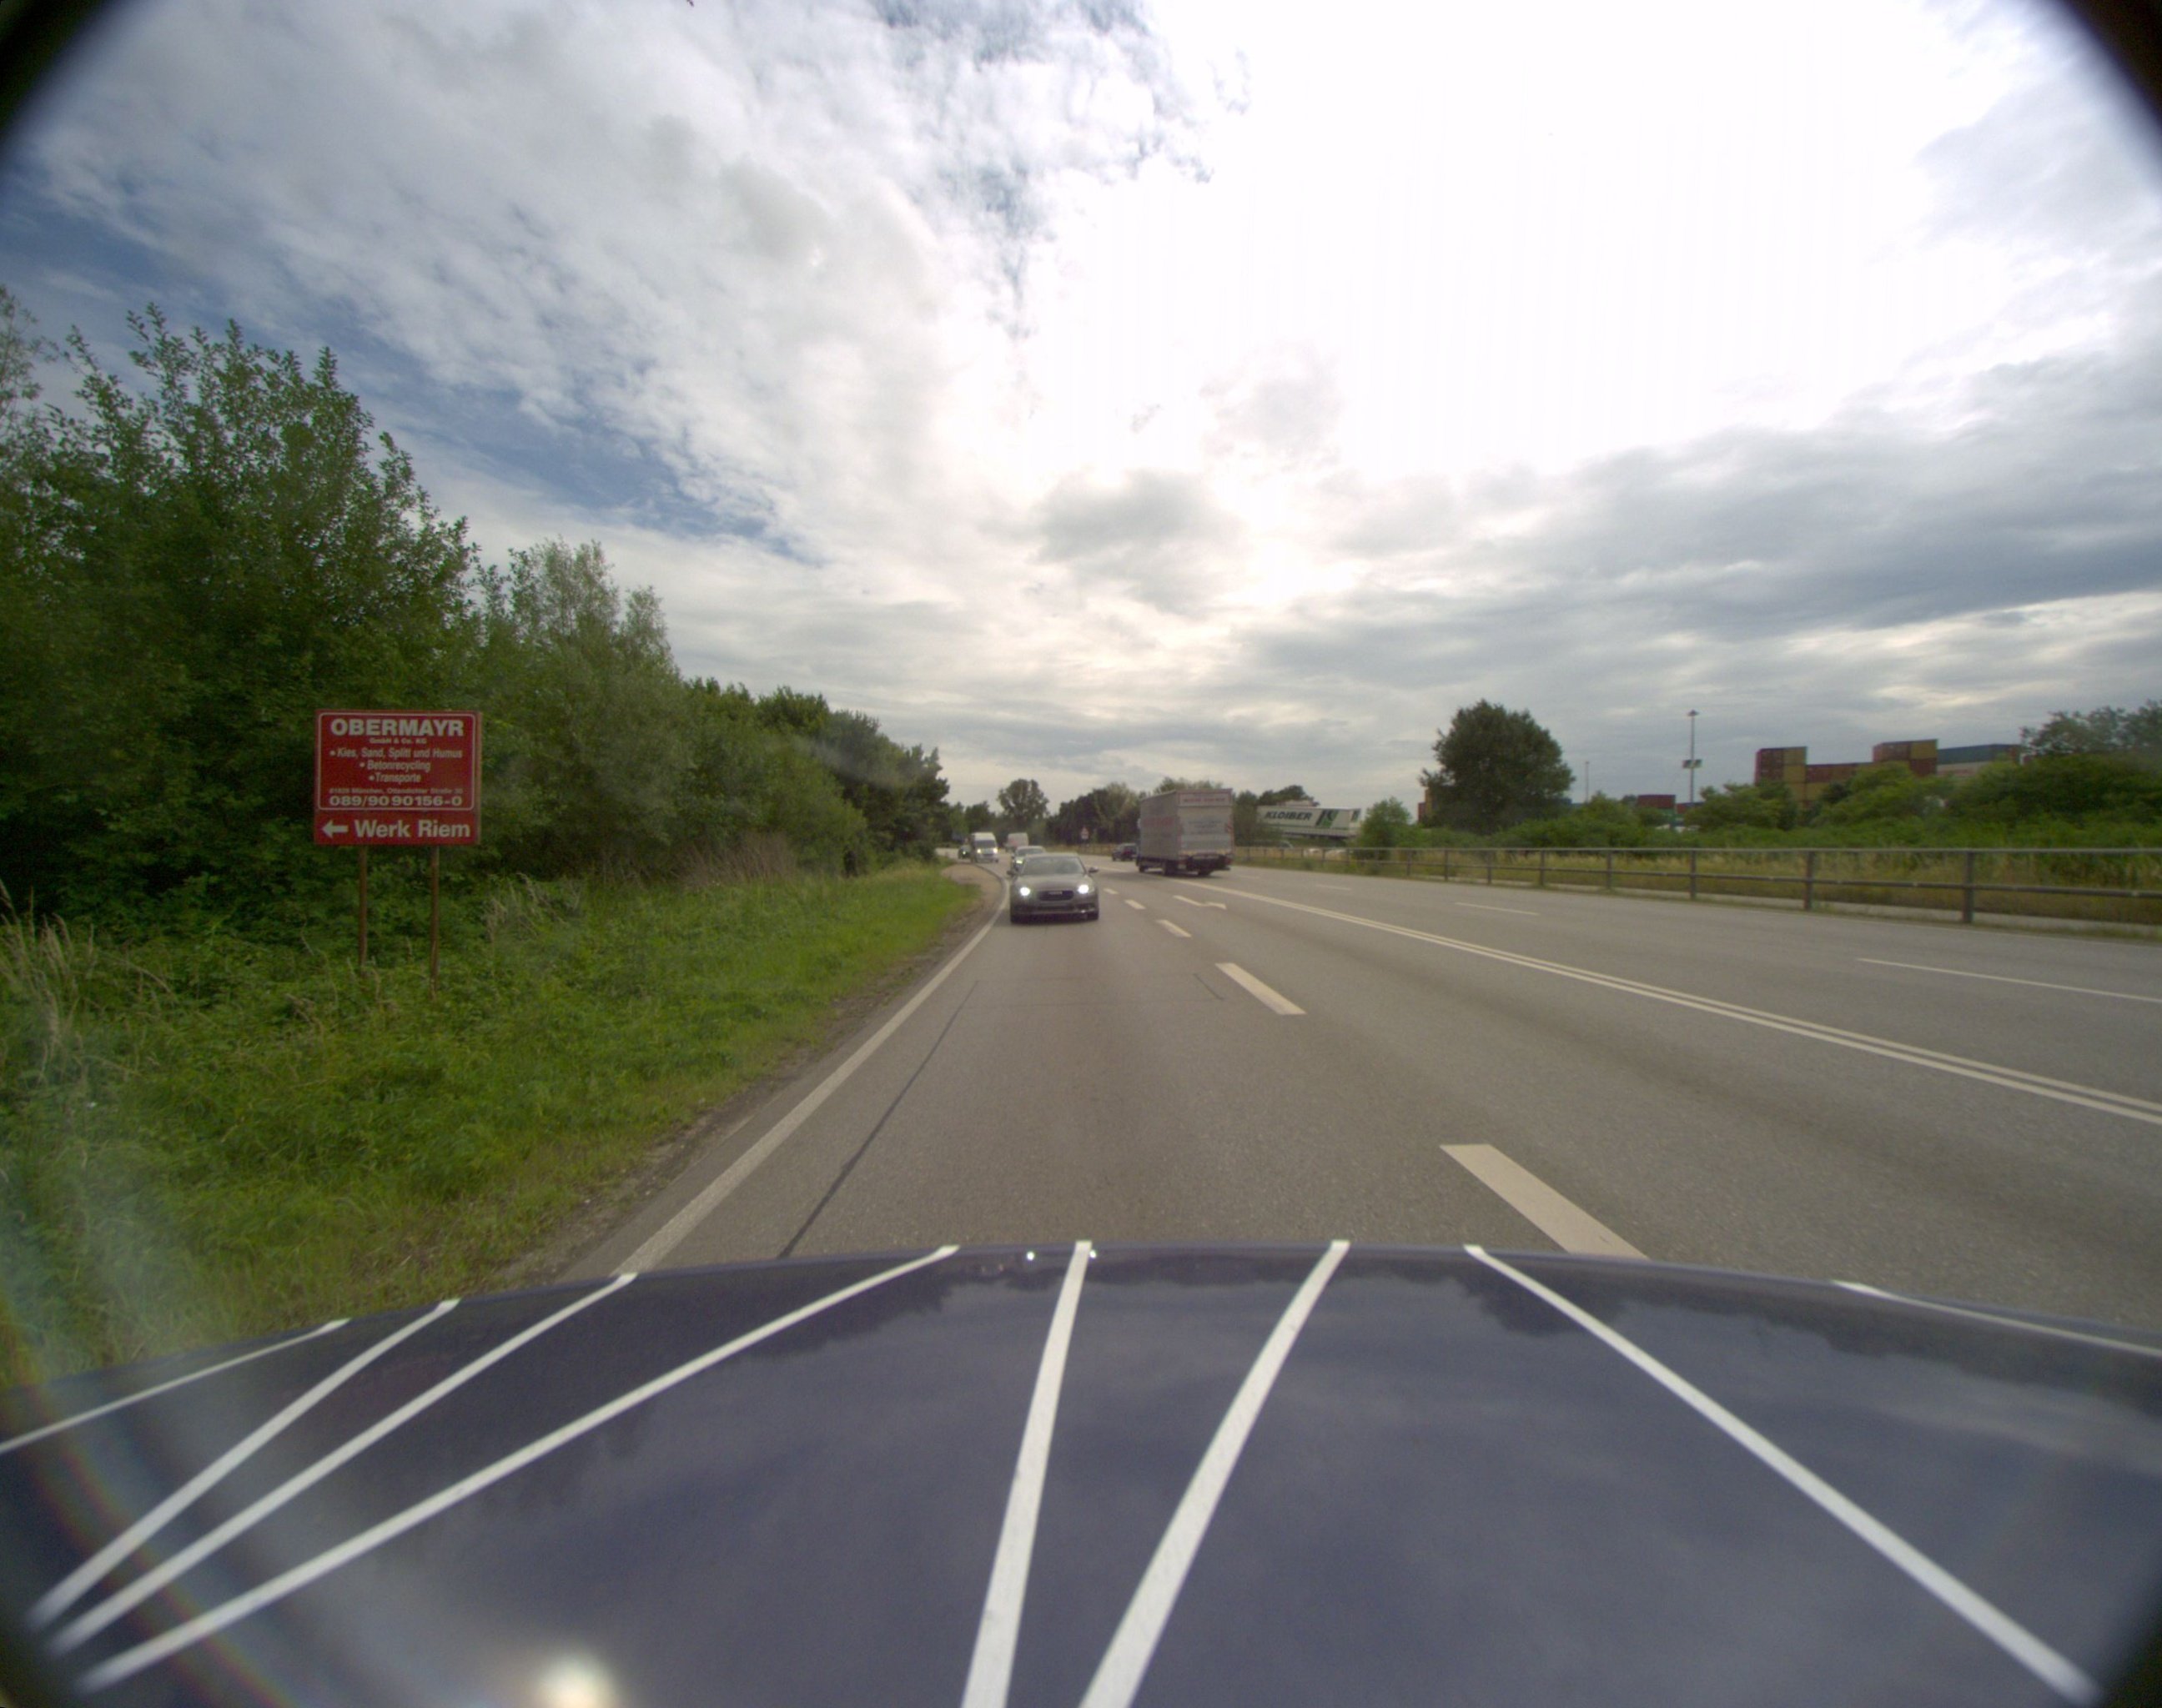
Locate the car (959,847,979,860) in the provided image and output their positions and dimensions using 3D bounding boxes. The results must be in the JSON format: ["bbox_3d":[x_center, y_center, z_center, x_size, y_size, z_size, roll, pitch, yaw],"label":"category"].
[{"bbox_3d":[-12.157,-0.069,82.487,1.733,1.357,3.994,0,1,-14],"label":"car"}]

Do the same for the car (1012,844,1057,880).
[{"bbox_3d":[-2.430,0.354,38.986,2.021,1.604,4.277,-2,2,-6],"label":"car"}]

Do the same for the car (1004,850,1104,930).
[{"bbox_3d":[-0.617,0.702,17.270,1.958,1.527,3.998,-2,1,-2],"label":"car"}]

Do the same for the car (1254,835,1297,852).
[{"bbox_3d":[21.774,-1.181,85.285,4.538,1.865,2.001,-1,2,12],"label":"car"}]

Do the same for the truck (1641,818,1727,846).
[{"bbox_3d":[60.752,-2.186,76.639,6.635,2.667,2.658,0,2,41],"label":"truck"}]

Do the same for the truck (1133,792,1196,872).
[{"bbox_3d":[4.478,-1.163,41.408,2.548,4.073,3.997,-1,1,-7],"label":"truck"}]

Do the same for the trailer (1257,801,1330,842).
[{"bbox_3d":[26.897,-4.115,96.817,2.812,4.969,8.959,-4,3,-38],"label":"trailer"}]

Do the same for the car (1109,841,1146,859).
[{"bbox_3d":[3.864,-0.357,64.003,1.953,1.433,3.994,-2,1,-14],"label":"car"}]

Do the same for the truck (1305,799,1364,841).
[{"bbox_3d":[30.686,-4.071,91.972,2.809,4.969,6.172,-4,3,-38],"label":"truck"}]

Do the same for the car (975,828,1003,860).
[{"bbox_3d":[-8.341,-0.886,68.881,2.220,2.655,5.235,-3,1,-7],"label":"car"}]

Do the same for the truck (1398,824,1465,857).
[{"bbox_3d":[48.034,-1.813,104.457,3.246,4.269,8.300,-2,2,-24],"label":"truck"}]

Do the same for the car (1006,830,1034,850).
[{"bbox_3d":[-8.769,-2.009,108.603,2.443,2.659,6.876,-2,1,-17],"label":"car"}]

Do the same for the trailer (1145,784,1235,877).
[{"bbox_3d":[5.092,-1.088,36.814,2.535,4.077,6.729,-1,1,-7],"label":"trailer"}]
